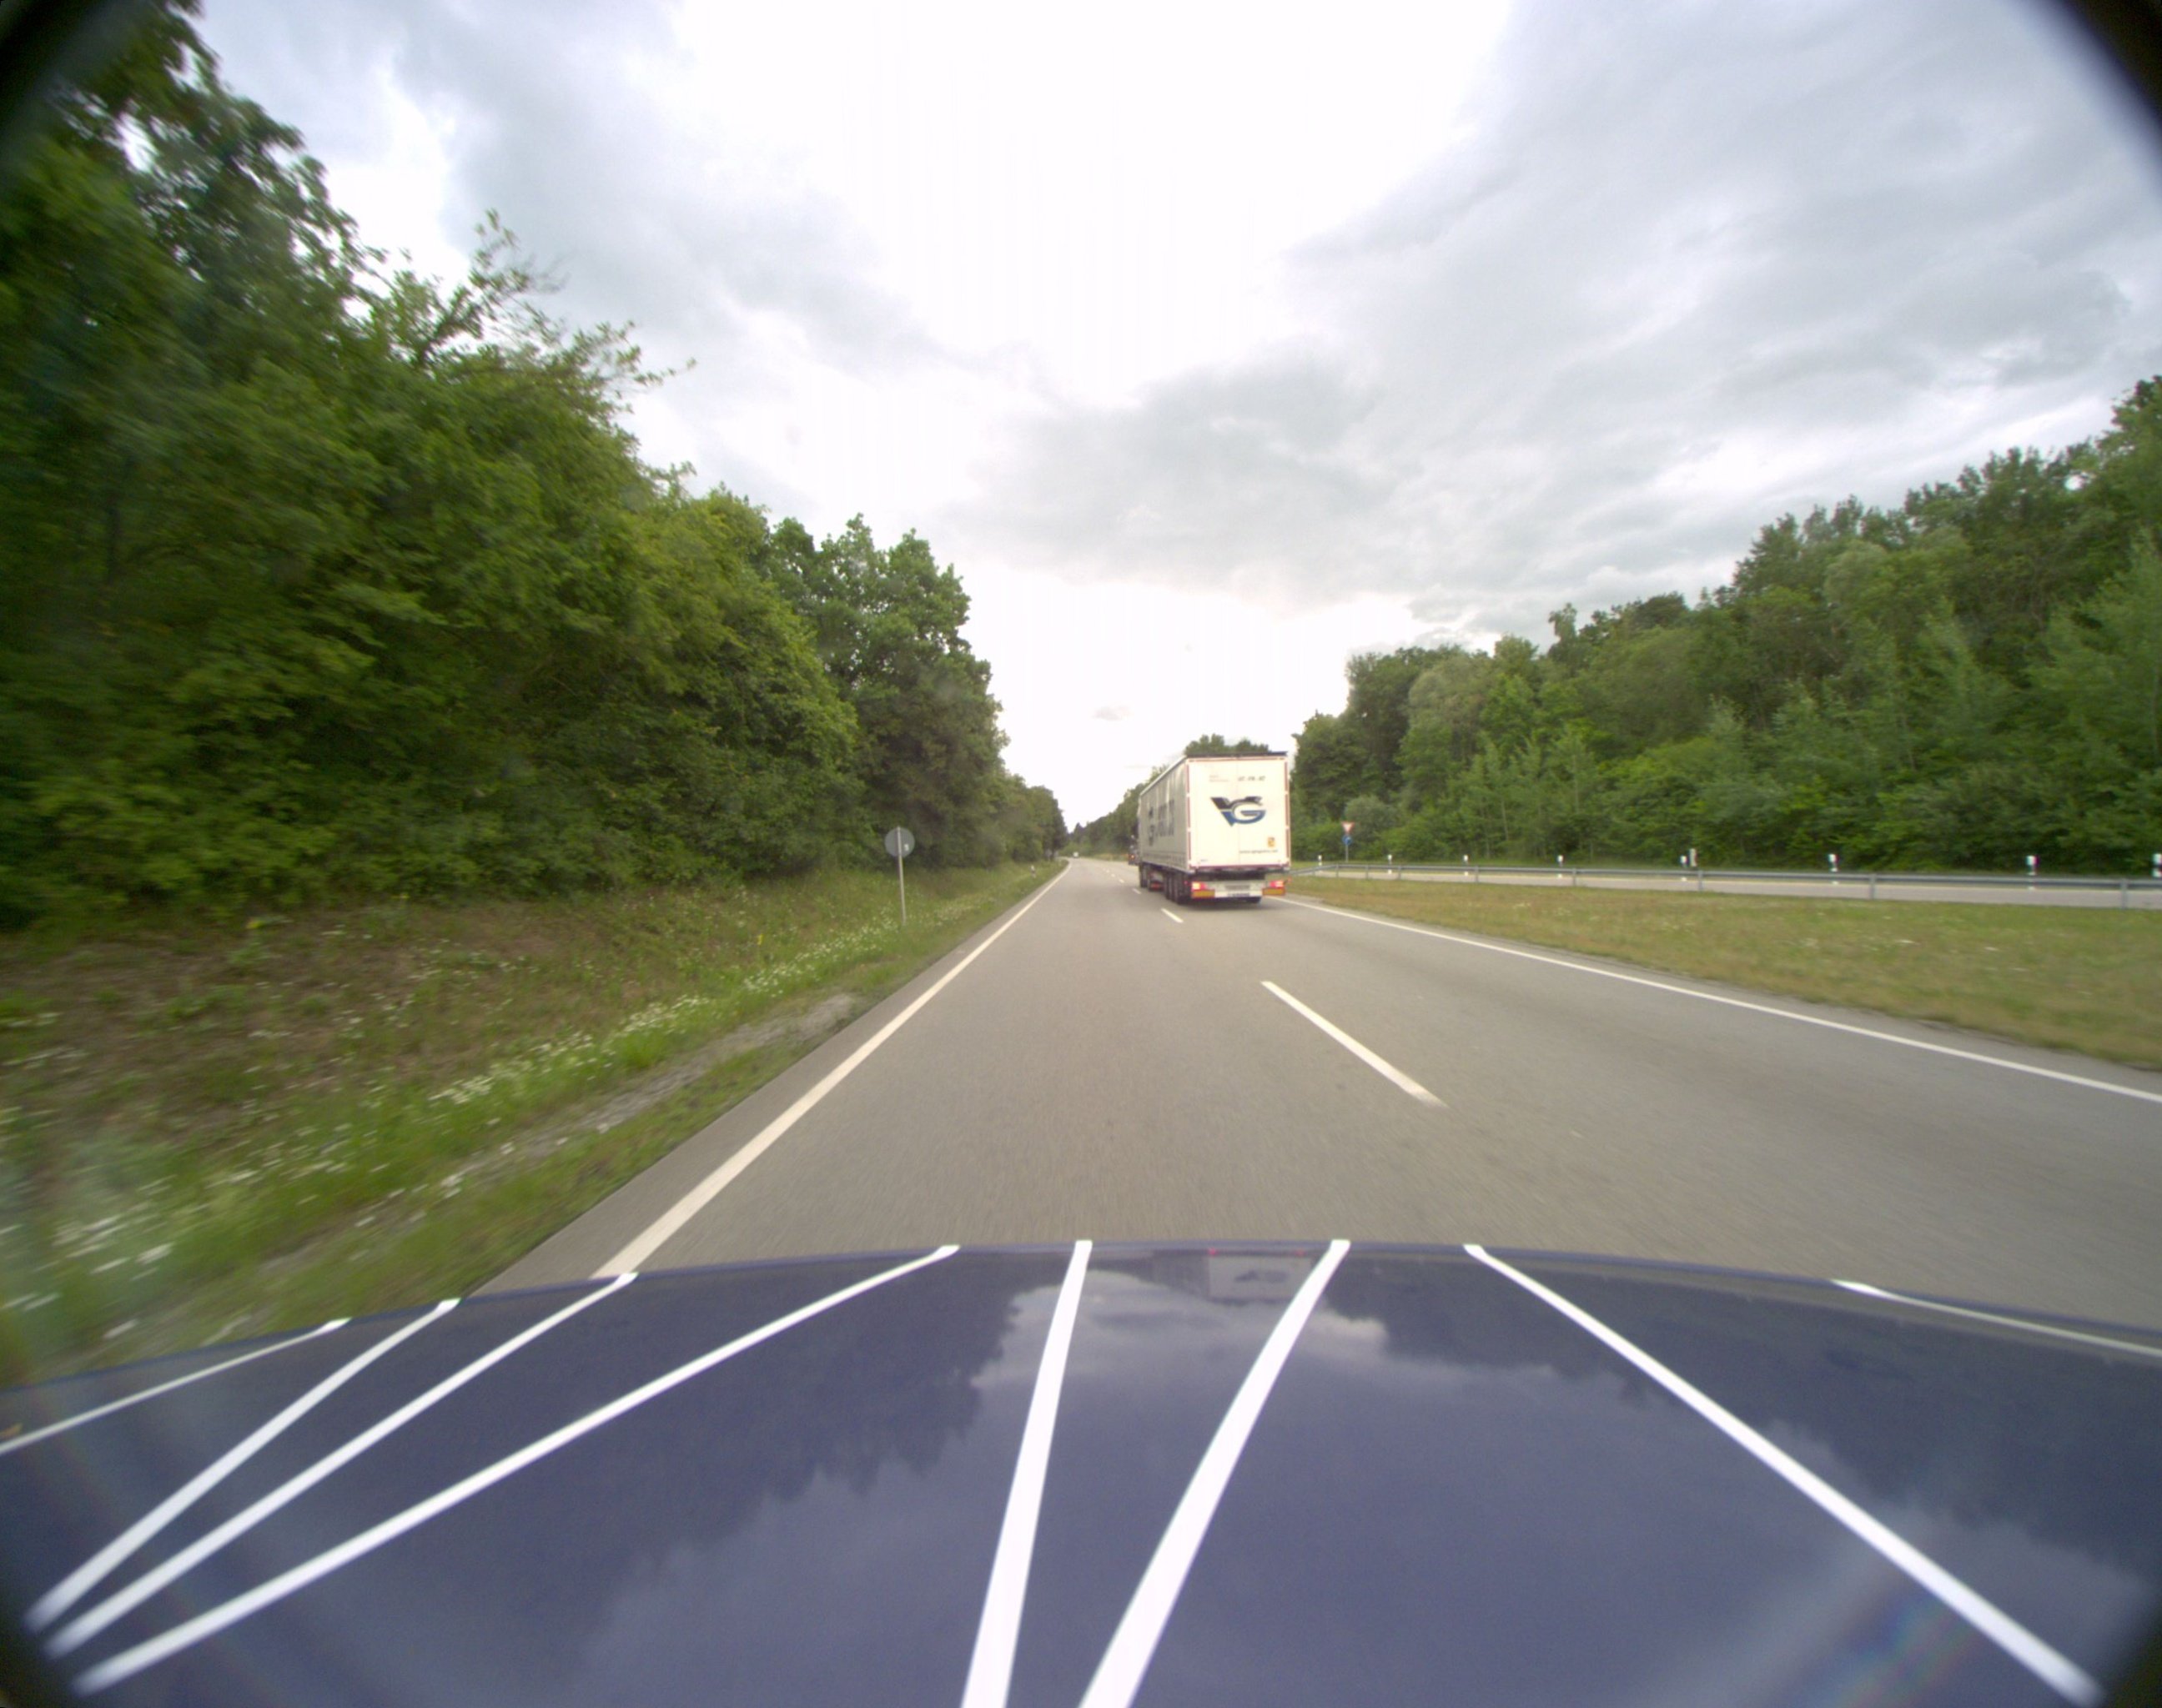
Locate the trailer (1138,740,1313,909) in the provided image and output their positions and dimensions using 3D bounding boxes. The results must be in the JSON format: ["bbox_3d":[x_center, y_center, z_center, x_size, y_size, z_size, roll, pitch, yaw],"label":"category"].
[{"bbox_3d":[4.102,-0.797,25.802,3.211,4.043,14.270,-2,1,0],"label":"trailer"}]

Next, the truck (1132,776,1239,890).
[{"bbox_3d":[4.132,-0.802,32.513,3.198,4.039,9.574,-2,1,1],"label":"truck"}]

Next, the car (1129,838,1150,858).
[{"bbox_3d":[7.819,-0.774,102.049,2.262,2.515,7.162,-1,1,0],"label":"car"}]

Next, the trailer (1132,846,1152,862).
[{"bbox_3d":[7.699,-0.047,95.672,2.059,1.781,5.689,-2,1,1],"label":"trailer"}]
